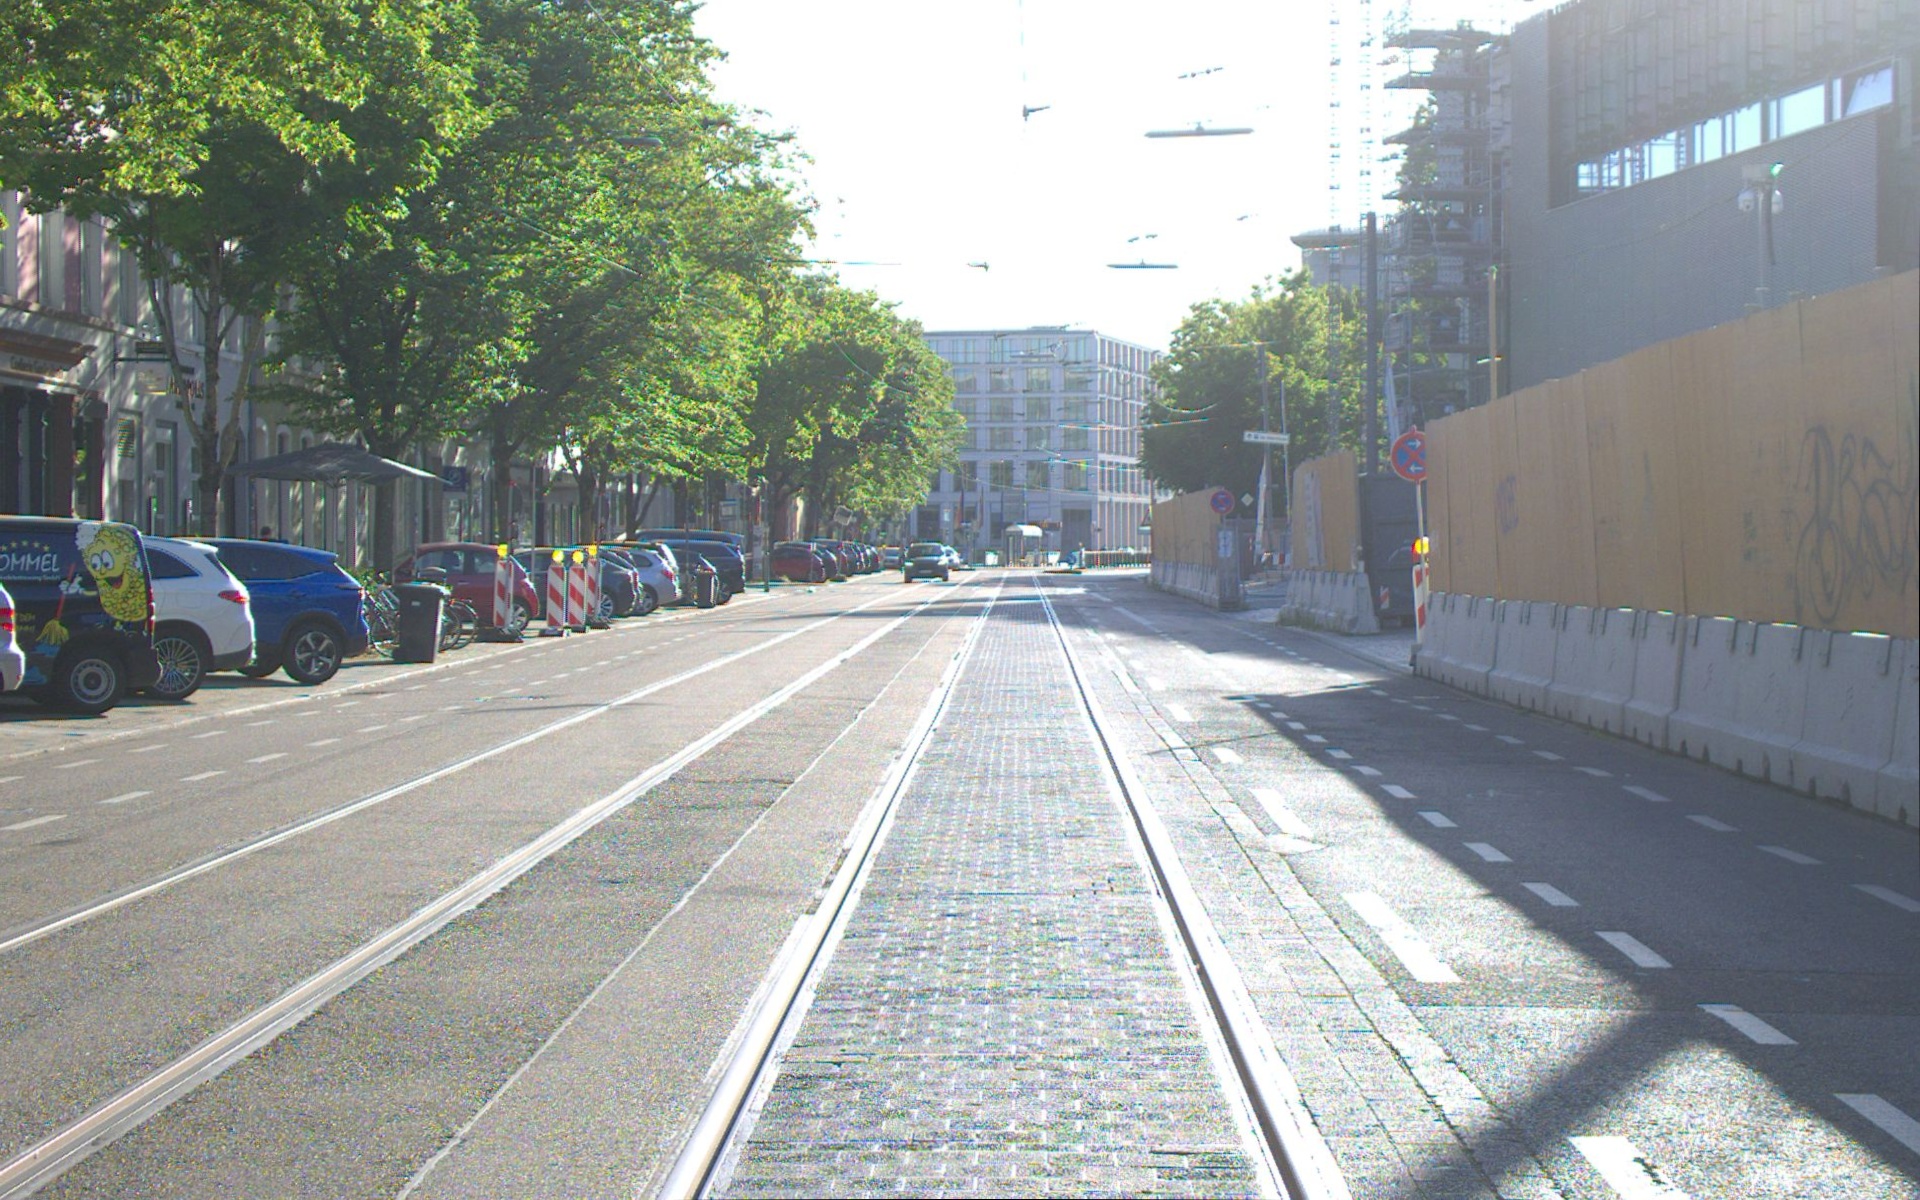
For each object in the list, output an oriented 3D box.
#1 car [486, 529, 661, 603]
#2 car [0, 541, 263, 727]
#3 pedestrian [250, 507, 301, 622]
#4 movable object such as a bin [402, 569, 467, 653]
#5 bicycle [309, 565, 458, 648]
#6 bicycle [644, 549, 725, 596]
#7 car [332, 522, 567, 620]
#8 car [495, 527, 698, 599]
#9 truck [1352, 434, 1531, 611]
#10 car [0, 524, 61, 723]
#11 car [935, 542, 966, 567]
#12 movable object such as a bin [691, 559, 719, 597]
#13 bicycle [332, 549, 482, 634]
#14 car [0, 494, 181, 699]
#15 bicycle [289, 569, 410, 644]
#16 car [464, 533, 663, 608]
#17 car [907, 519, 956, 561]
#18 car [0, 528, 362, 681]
[{"bbox_3d":[-8.305,-0.741,73.909,3.362,1.488,1.613,1,2,-27],"label":"car"},{"bbox_3d":[-9.761,0.320,34.515,4.925,1.788,2.209,-1,1,-35],"label":"car"},{"bbox_3d":[-12.001,-0.626,60.287,0.731,2.007,0.556,-1,1,3],"label":"pedestrian"},{"bbox_3d":[-7.037,0.137,46.071,0.684,1.074,0.710,3,1,3],"label":"movable object such as a bin"},{"bbox_3d":[-8.112,0.084,48.407,1.968,1.075,0.568,2,1,4],"label":"bicycle"},{"bbox_3d":[-6.951,-0.689,86.716,1.965,1.140,0.493,1,1,-17],"label":"bicycle"},{"bbox_3d":[-8.730,-0.496,58.797,3.612,1.548,1.669,1,2,-25],"label":"car"},{"bbox_3d":[-8.127,-0.826,76.805,4.103,1.507,1.841,1,1,-25],"label":"car"},{"bbox_3d":[8.582,-1.389,61.813,2.520,2.899,5.507,-3,1,3],"label":"truck"},{"bbox_3d":[-9.869,0.144,29.158,3.986,1.651,1.811,1,2,-29],"label":"car"},{"bbox_3d":[-0.589,-2.689,203.388,1.709,1.431,4.171,-1,1,-2],"label":"car"},{"bbox_3d":[-6.391,-0.552,86.109,0.575,0.910,0.575,1,2,-15],"label":"movable object such as a bin"},{"bbox_3d":[-7.991,-0.124,49.728,2.003,1.084,0.567,4,1,4],"label":"bicycle"},{"bbox_3d":[-9.168,-0.025,31.768,3.434,1.837,1.733,2,-2,-32],"label":"car"},{"bbox_3d":[-8.293,0.089,46.731,1.599,0.984,0.389,1,1,-9],"label":"bicycle"},{"bbox_3d":[-8.190,-0.609,71.048,3.671,1.465,1.754,1,1,-27],"label":"car"},{"bbox_3d":[-1.211,-2.563,146.126,1.928,1.624,4.249,-3,2,0],"label":"car"},{"bbox_3d":[-9.016,0.021,39.492,3.890,1.603,1.573,-2,1,-35],"label":"car"}]
